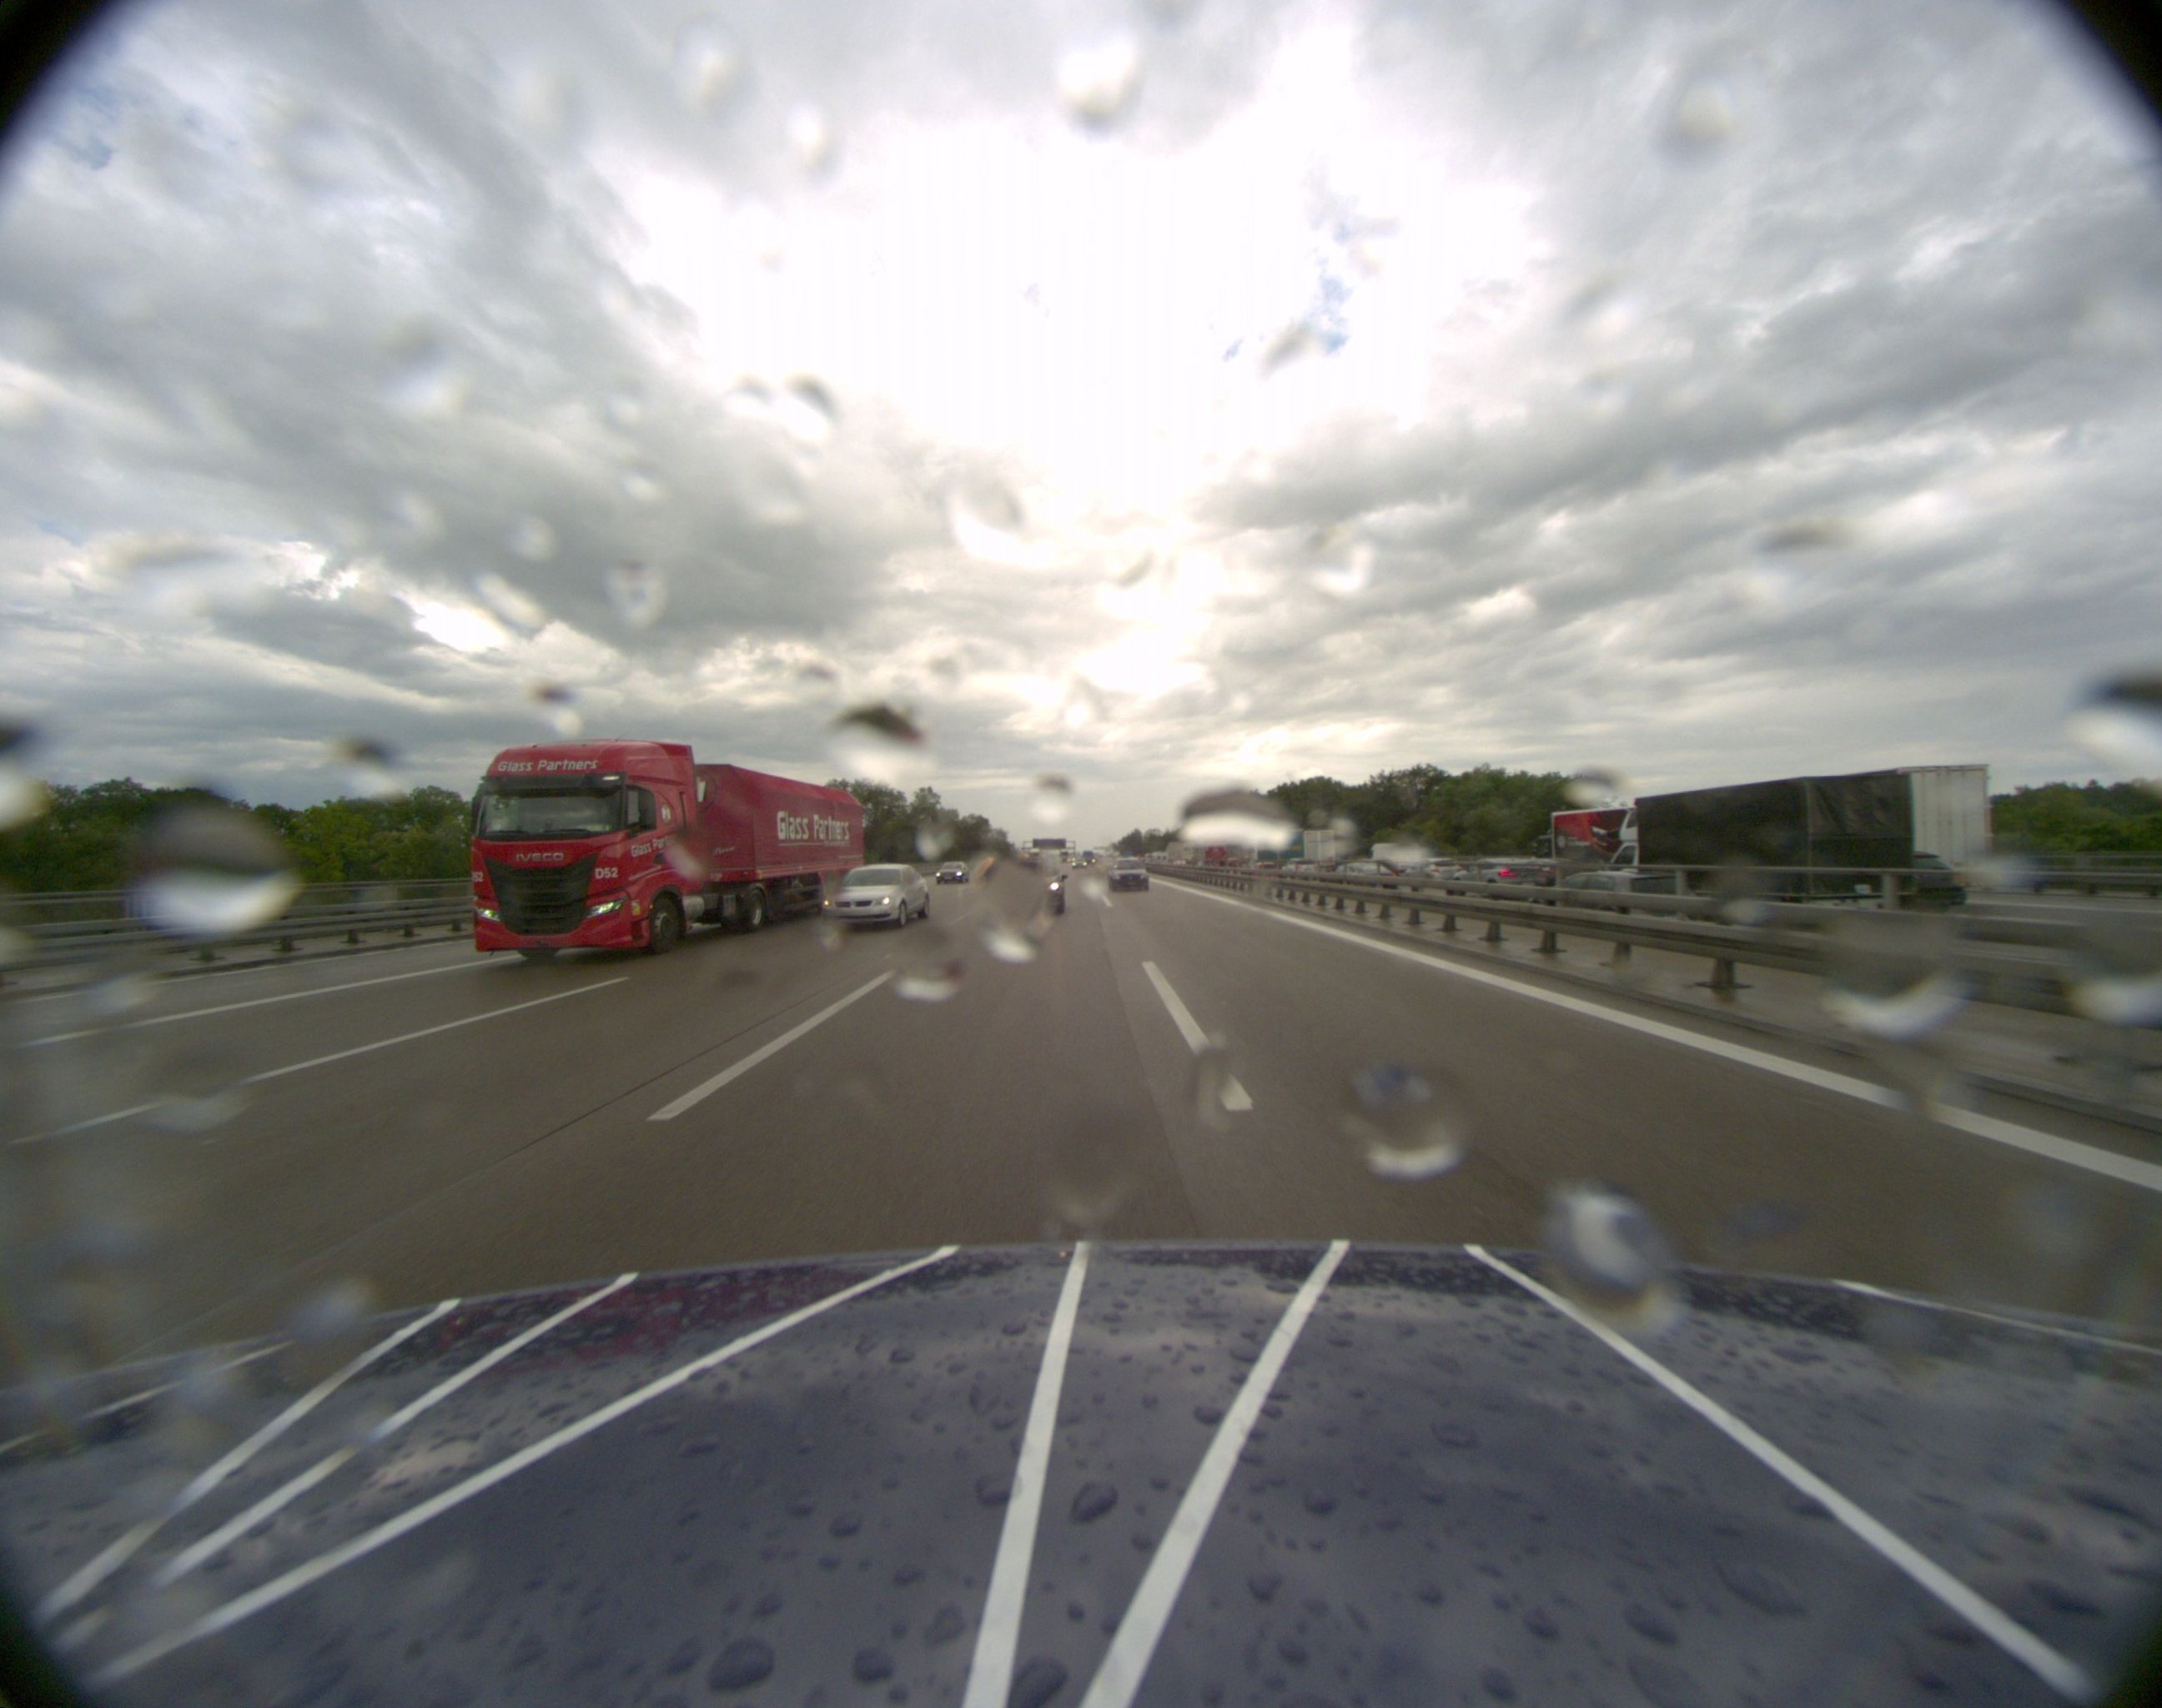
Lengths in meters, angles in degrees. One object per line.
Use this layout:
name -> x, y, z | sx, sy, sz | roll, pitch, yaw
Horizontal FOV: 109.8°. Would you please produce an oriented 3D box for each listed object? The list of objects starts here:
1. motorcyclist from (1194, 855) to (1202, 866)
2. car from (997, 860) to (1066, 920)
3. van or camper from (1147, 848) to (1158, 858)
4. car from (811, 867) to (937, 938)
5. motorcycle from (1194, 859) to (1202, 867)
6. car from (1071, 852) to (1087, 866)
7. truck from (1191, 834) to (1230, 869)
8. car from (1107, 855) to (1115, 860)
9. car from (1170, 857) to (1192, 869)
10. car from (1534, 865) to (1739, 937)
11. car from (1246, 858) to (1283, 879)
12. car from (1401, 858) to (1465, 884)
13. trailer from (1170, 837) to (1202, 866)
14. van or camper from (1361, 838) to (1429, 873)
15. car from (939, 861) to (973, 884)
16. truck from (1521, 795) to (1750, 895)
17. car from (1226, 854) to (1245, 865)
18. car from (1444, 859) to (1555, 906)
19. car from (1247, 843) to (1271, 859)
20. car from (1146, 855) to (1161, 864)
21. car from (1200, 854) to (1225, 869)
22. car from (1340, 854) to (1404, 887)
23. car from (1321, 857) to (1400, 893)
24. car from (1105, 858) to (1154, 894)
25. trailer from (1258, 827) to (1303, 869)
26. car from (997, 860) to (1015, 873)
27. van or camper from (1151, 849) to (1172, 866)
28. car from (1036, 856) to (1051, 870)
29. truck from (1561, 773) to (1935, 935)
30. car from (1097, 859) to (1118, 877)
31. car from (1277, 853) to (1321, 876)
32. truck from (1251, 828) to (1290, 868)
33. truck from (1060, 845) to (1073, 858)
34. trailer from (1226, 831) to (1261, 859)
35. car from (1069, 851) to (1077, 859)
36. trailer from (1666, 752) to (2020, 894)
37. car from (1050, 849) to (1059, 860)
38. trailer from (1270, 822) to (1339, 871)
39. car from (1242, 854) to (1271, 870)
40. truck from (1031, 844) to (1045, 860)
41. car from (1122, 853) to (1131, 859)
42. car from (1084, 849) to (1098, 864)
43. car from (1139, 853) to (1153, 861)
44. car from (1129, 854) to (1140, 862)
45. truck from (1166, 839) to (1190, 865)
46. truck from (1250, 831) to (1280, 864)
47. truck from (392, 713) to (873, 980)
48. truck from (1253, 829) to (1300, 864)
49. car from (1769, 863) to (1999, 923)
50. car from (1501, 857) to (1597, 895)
motorcyclist -> 13.971, 0.759, 90.798 | 0.730, 1.333, 1.030 | -1, 0, 0
car -> -1.312, 0.938, 21.635 | 1.668, 1.431, 4.404 | -2, 0, -1
van or camper -> 21.844, -0.283, 231.573 | 2.208, 2.749, 7.229 | -1, 0, -3
car -> -4.839, 1.078, 18.441 | 1.898, 1.438, 4.245 | -2, 0, -1
motorcycle -> 13.946, 1.037, 90.708 | 0.735, 0.960, 1.789 | -1, 0, 1
car -> -0.260, 0.646, 101.365 | 2.134, 1.831, 4.000 | -1, 0, 0
truck -> 16.240, -0.278, 96.449 | 2.991, 4.124, 12.523 | -1, 0, 1
car -> 9.627, 1.157, 245.626 | 1.879, 1.384, 5.363 | -1, 0, -3
car -> 12.427, 1.117, 94.578 | 1.927, 1.410, 5.011 | -1, 0, -1
car -> 12.242, 0.967, 17.114 | 1.724, 1.346, 4.000 | -1, 0, 1
car -> 12.991, 1.006, 54.082 | 1.577, 1.346, 4.384 | -1, 0, 1
car -> 19.849, 0.914, 42.998 | 1.672, 1.346, 4.218 | -1, 0, 1
trailer -> 16.116, -0.358, 117.625 | 2.888, 4.121, 13.027 | -1, 0, -1
van or camper -> 24.447, 0.107, 59.518 | 2.249, 2.563, 7.363 | -1, 0, 0
car -> -8.815, 1.269, 53.902 | 1.820, 1.534, 4.357 | -2, 0, -2
truck -> 25.247, -0.367, 35.667 | 3.233, 3.887, 10.281 | -2, 0, 1
car -> 20.064, 0.719, 98.742 | 1.603, 1.336, 4.194 | -1, 0, -1
car -> 16.718, 1.071, 30.673 | 1.724, 1.690, 5.055 | -1, 0, 1
car -> 21.567, -0.364, 92.205 | 1.998, 1.820, 4.000 | -2, 0, 1
car -> 12.443, 0.927, 130.729 | 1.927, 1.410, 5.164 | -1, 0, -1
car -> 13.104, 0.702, 75.799 | 1.836, 1.443, 4.000 | -1, 0, 1
car -> 16.392, 0.884, 43.066 | 1.724, 1.717, 5.104 | -1, 0, 1
car -> 12.932, 0.918, 35.528 | 1.724, 1.494, 5.502 | -1, 0, 1
car -> 2.088, 0.920, 33.892 | 1.781, 1.399, 5.016 | -2, 0, -1
trailer -> 20.332, -0.628, 77.746 | 2.842, 4.005, 6.314 | -2, 0, 0
car -> -8.591, 1.441, 87.301 | 1.782, 1.438, 4.587 | -2, 0, -2
van or camper -> 12.221, 0.486, 115.290 | 2.284, 2.481, 7.302 | -1, 0, -1
car -> -5.142, 1.147, 103.459 | 1.962, 1.831, 3.999 | -1, 0, -3
truck -> 16.757, 0.008, 20.283 | 2.526, 3.379, 8.540 | -1, 0, 1
car -> 2.277, 1.196, 66.487 | 1.751, 1.489, 4.015 | -2, 0, 1
car -> 16.411, 0.730, 57.391 | 1.768, 1.615, 4.779 | -1, 0, -2
truck -> 20.279, -0.643, 81.596 | 2.852, 4.005, 4.963 | -2, 0, 0
truck -> -4.469, -0.720, 233.499 | 2.959, 3.777, 12.323 | -2, 0, -5
trailer -> 24.587, -1.297, 115.660 | 2.765, 3.970, 12.307 | -1, 0, 1
car -> -2.147, 0.256, 205.190 | 1.999, 2.002, 3.507 | -2, 0, -2
trailer -> 25.140, -0.889, 26.089 | 3.227, 3.936, 8.850 | -2, 0, 1
car -> -6.747, 0.152, 194.221 | 2.037, 2.587, 4.513 | -1, 0, -1
trailer -> 20.343, -0.610, 70.036 | 2.825, 4.037, 11.602 | -2, 0, 0
car -> 16.770, 0.737, 72.868 | 1.836, 1.443, 4.000 | -1, 0, 1
truck -> -11.062, -0.461, 193.006 | 3.256, 3.884, 12.310 | -2, 0, -4
car -> 10.943, 0.469, 182.850 | 1.767, 1.375, 4.819 | -1, 0, -2
car -> 1.666, 0.422, 128.489 | 1.999, 2.354, 4.171 | -2, 0, -1
car -> 12.334, 0.512, 143.961 | 2.020, 1.378, 5.458 | -1, 0, -1
car -> 11.640, 0.852, 165.421 | 1.918, 1.756, 5.330 | -1, 0, -1
truck -> 16.006, -0.362, 125.528 | 2.888, 4.155, 7.556 | -1, 0, -1
truck -> 23.976, -0.828, 99.358 | 2.709, 4.045, 5.108 | -1, 0, 1
truck -> -8.961, -0.075, 19.394 | 3.161, 3.980, 15.635 | -2, 0, -1
truck -> 23.991, -0.862, 93.903 | 2.727, 3.958, 11.693 | -1, 0, 0
car -> 20.686, 0.937, 19.870 | 1.724, 1.346, 4.086 | -1, 0, 1
car -> 20.422, 0.922, 33.374 | 1.724, 1.526, 4.086 | -1, 0, 1
